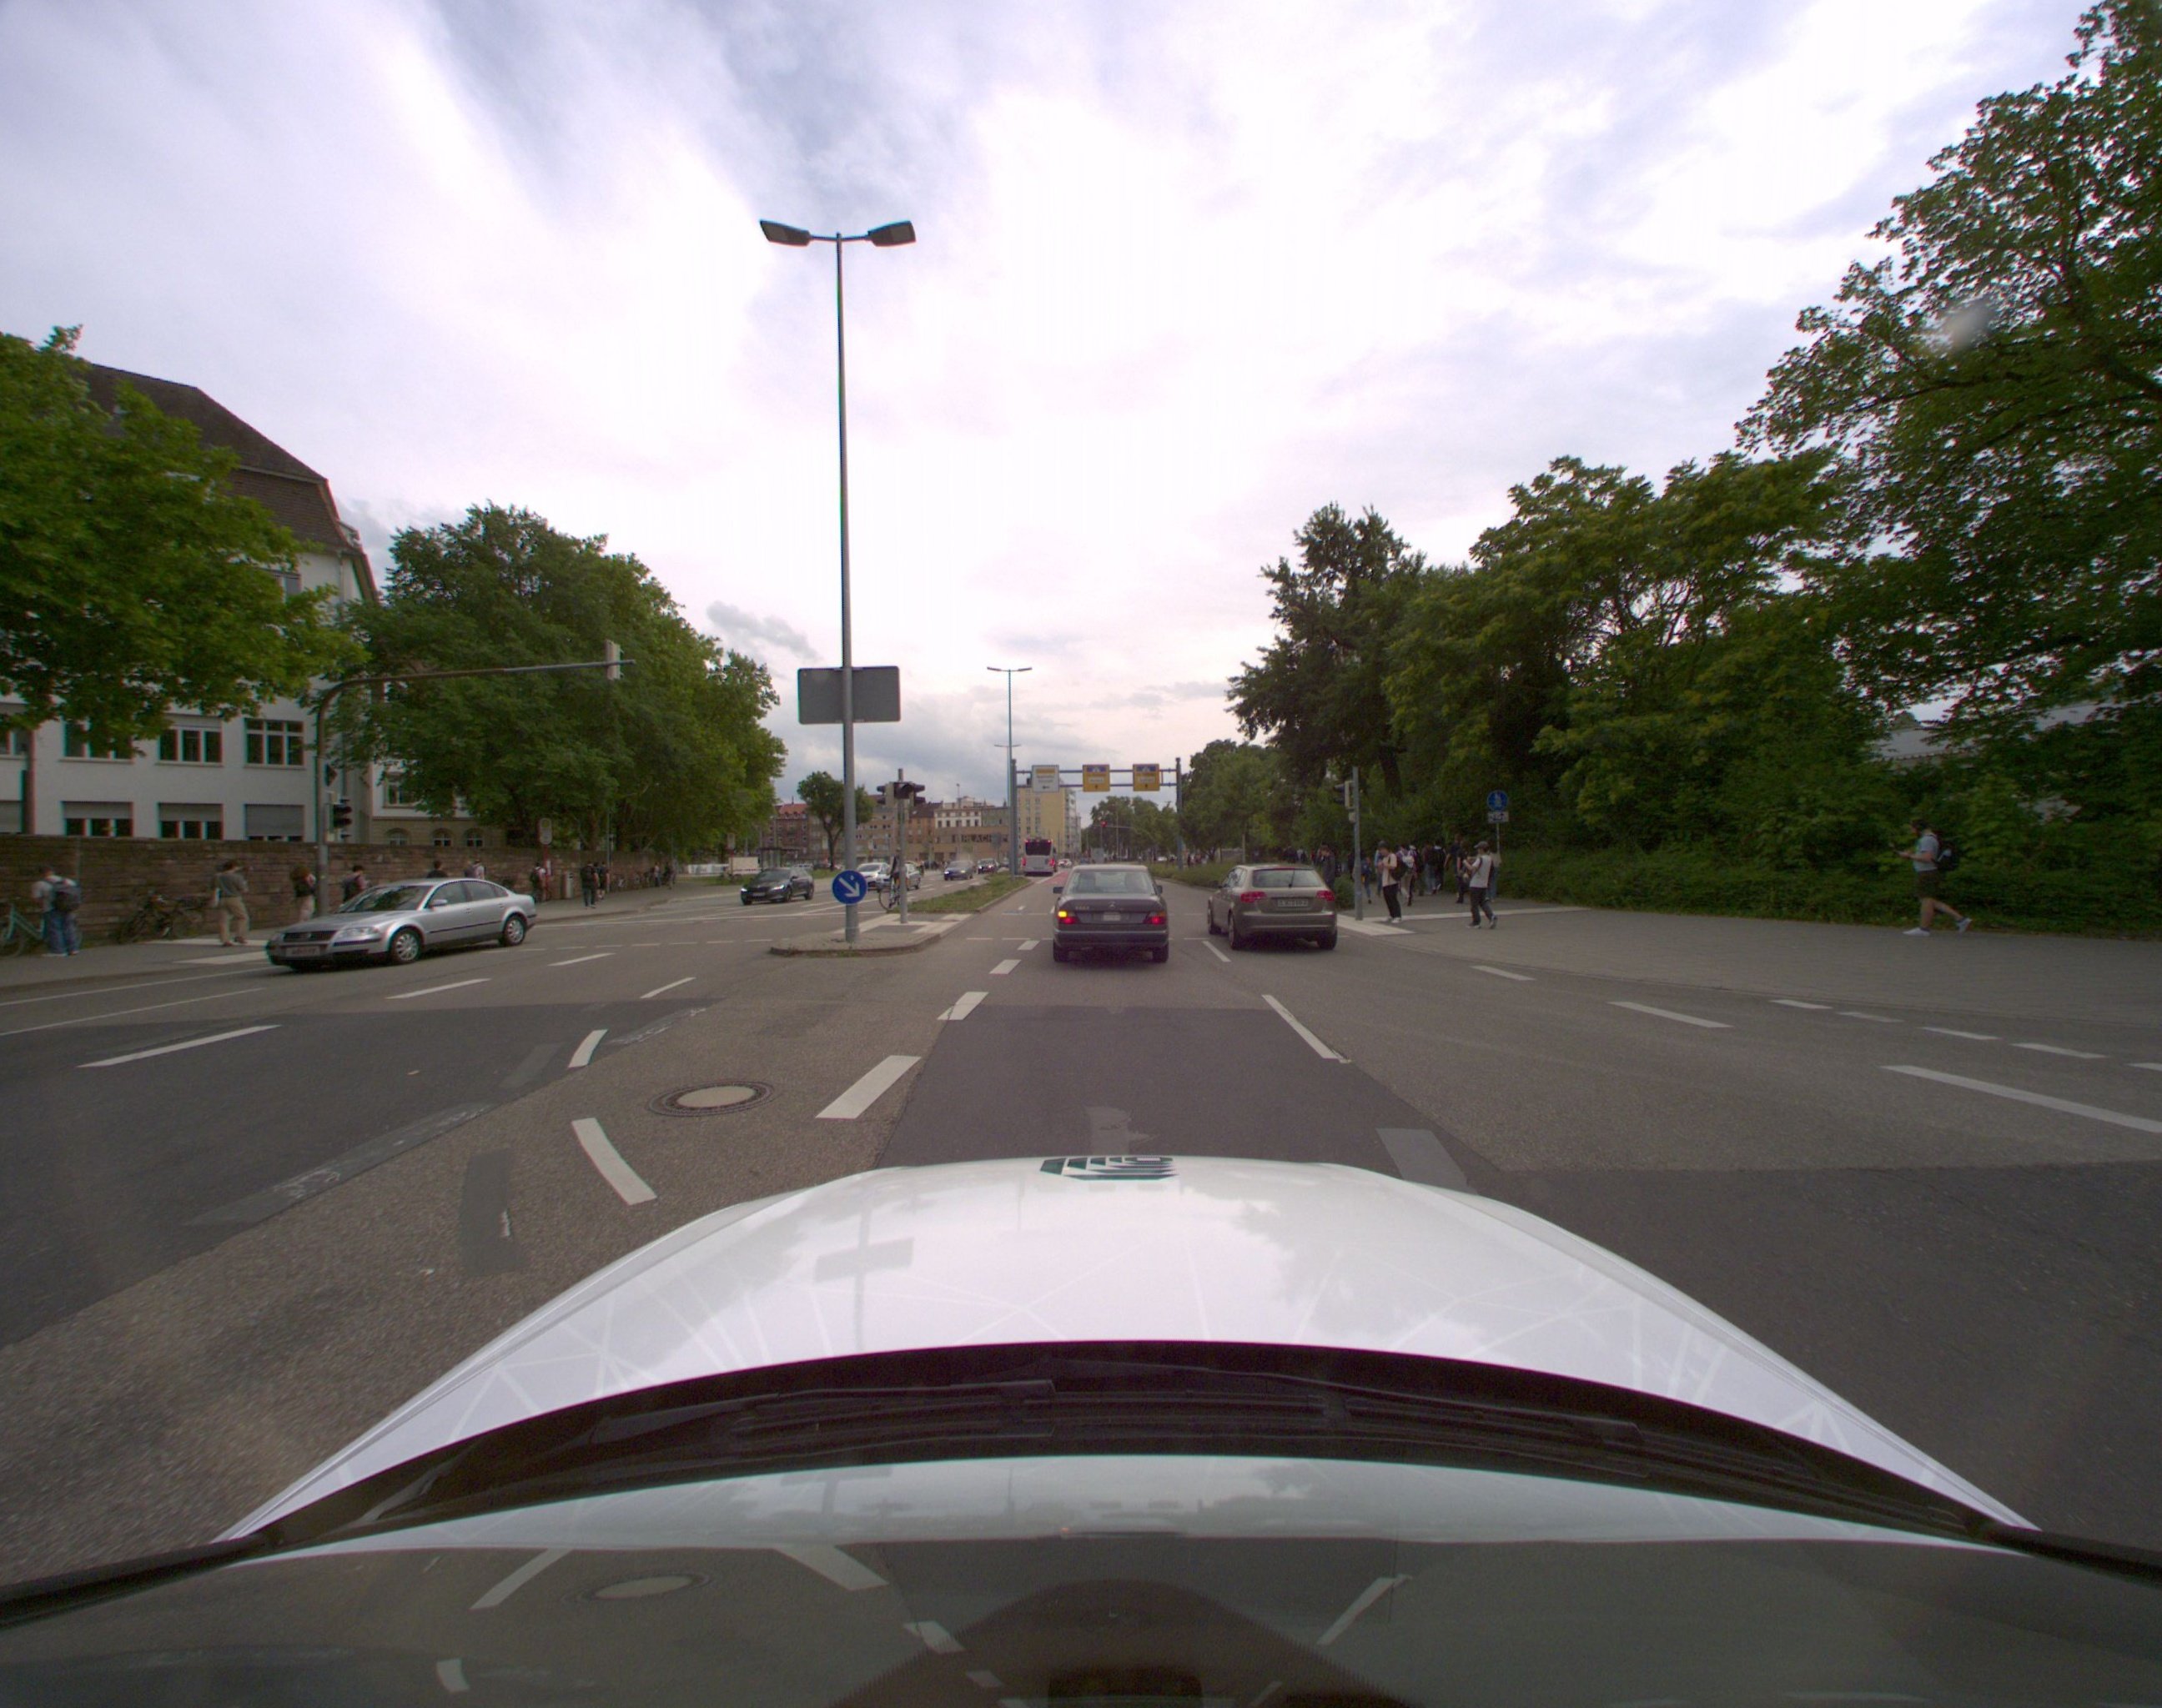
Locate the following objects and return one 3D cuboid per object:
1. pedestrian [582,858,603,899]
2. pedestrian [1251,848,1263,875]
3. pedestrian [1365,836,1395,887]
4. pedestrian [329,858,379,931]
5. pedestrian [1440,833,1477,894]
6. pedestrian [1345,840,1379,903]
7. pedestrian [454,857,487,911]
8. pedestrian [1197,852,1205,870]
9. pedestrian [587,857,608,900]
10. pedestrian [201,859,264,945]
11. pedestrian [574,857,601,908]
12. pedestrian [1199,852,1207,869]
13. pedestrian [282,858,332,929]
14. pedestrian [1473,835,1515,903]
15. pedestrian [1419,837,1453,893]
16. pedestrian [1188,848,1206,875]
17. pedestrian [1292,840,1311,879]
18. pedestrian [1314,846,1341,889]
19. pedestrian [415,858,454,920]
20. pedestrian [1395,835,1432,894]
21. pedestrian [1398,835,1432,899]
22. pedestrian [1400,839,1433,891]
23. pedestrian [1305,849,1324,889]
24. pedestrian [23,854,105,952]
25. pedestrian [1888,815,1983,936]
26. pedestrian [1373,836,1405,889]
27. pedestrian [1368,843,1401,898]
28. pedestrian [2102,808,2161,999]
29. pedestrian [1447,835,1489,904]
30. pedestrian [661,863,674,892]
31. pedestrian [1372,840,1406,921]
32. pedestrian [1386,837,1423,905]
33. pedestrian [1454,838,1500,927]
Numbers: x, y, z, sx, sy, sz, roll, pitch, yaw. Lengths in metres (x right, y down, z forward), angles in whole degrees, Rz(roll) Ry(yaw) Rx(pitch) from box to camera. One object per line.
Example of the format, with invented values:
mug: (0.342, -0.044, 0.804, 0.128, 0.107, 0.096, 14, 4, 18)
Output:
pedestrian: (-21.818, 1.104, 36.381, 0.763, 1.782, 0.776, 0, -2, -29)
pedestrian: (11.118, 0.473, 51.439, 0.585, 1.683, 0.748, -1, 0, 0)
pedestrian: (10.557, 0.261, 28.774, 0.719, 1.744, 0.812, -1, 0, 0)
pedestrian: (-18.200, 1.008, 20.400, 0.763, 1.782, 0.776, 0, -2, -30)
pedestrian: (11.071, 0.281, 23.909, 0.655, 1.745, 0.779, -1, 0, -3)
pedestrian: (8.022, 0.483, 23.268, 0.655, 1.745, 0.779, -1, 0, -3)
pedestrian: (-20.962, 1.026, 27.975, 0.763, 1.782, 0.906, 0, -2, -29)
pedestrian: (11.423, 0.681, 77.747, 0.642, 1.713, 0.564, -1, 0, 14)
pedestrian: (-20.639, 1.053, 34.781, 0.763, 1.782, 0.915, 0, -2, -29)
pedestrian: (-18.193, 1.012, 17.477, 0.750, 1.782, 0.775, 0, -2, -33)
pedestrian: (-17.838, 1.026, 29.445, 0.762, 1.782, 0.716, 0, -2, -24)
pedestrian: (10.977, 0.578, 73.233, 0.652, 1.470, 0.564, -1, 0, 16)
pedestrian: (-19.993, 1.004, 21.055, 0.764, 1.782, 0.776, 0, -2, -32)
pedestrian: (10.763, 0.385, 21.255, 0.655, 1.745, 0.779, -1, 0, -3)
pedestrian: (10.868, 0.331, 24.933, 0.655, 1.699, 0.779, -1, 0, -3)
pedestrian: (7.835, 0.492, 55.033, 0.925, 1.830, 0.892, -1, 0, 27)
pedestrian: (10.042, 0.267, 37.069, 0.617, 1.735, 0.814, -1, 0, 0)
pedestrian: (9.415, 0.494, 31.143, 0.773, 1.602, 0.812, -1, 0, 0)
pedestrian: (-18.975, 1.021, 23.924, 0.763, 1.782, 0.776, 0, -2, -29)
pedestrian: (10.186, 0.315, 24.962, 0.655, 1.766, 0.957, -2, 0, -2)
pedestrian: (9.344, 0.367, 22.813, 0.579, 1.745, 0.789, -1, 0, -2)
pedestrian: (11.076, 0.359, 26.908, 0.655, 1.667, 0.970, -1, 0, -2)
pedestrian: (9.993, 0.630, 34.920, 0.554, 1.655, 0.753, -1, 0, 0)
pedestrian: (-19.298, 0.912, 15.476, 0.750, 1.782, 0.775, 0, -2, -35)
pedestrian: (13.070, 0.321, 12.473, 0.643, 1.795, 0.739, -1, -1, -3)
pedestrian: (10.168, 0.271, 26.897, 0.655, 1.689, 0.841, -1, 0, -3)
pedestrian: (9.247, 0.501, 24.866, 0.655, 1.648, 0.811, -1, 0, -3)
pedestrian: (10.776, 0.482, 7.940, 0.646, 1.852, 0.825, 0, -1, -15)
pedestrian: (10.032, 0.384, 21.128, 0.655, 1.745, 0.779, -1, 0, -3)
pedestrian: (-24.213, 1.360, 47.721, 0.561, 1.668, 0.623, 0, -2, -17)
pedestrian: (6.746, 0.563, 17.830, 0.453, 1.735, 0.636, -1, -1, -3)
pedestrian: (8.617, 0.442, 21.693, 0.622, 1.745, 0.779, -1, 0, -3)
pedestrian: (7.714, 0.537, 15.867, 0.544, 1.687, 0.636, -1, -1, -3)
